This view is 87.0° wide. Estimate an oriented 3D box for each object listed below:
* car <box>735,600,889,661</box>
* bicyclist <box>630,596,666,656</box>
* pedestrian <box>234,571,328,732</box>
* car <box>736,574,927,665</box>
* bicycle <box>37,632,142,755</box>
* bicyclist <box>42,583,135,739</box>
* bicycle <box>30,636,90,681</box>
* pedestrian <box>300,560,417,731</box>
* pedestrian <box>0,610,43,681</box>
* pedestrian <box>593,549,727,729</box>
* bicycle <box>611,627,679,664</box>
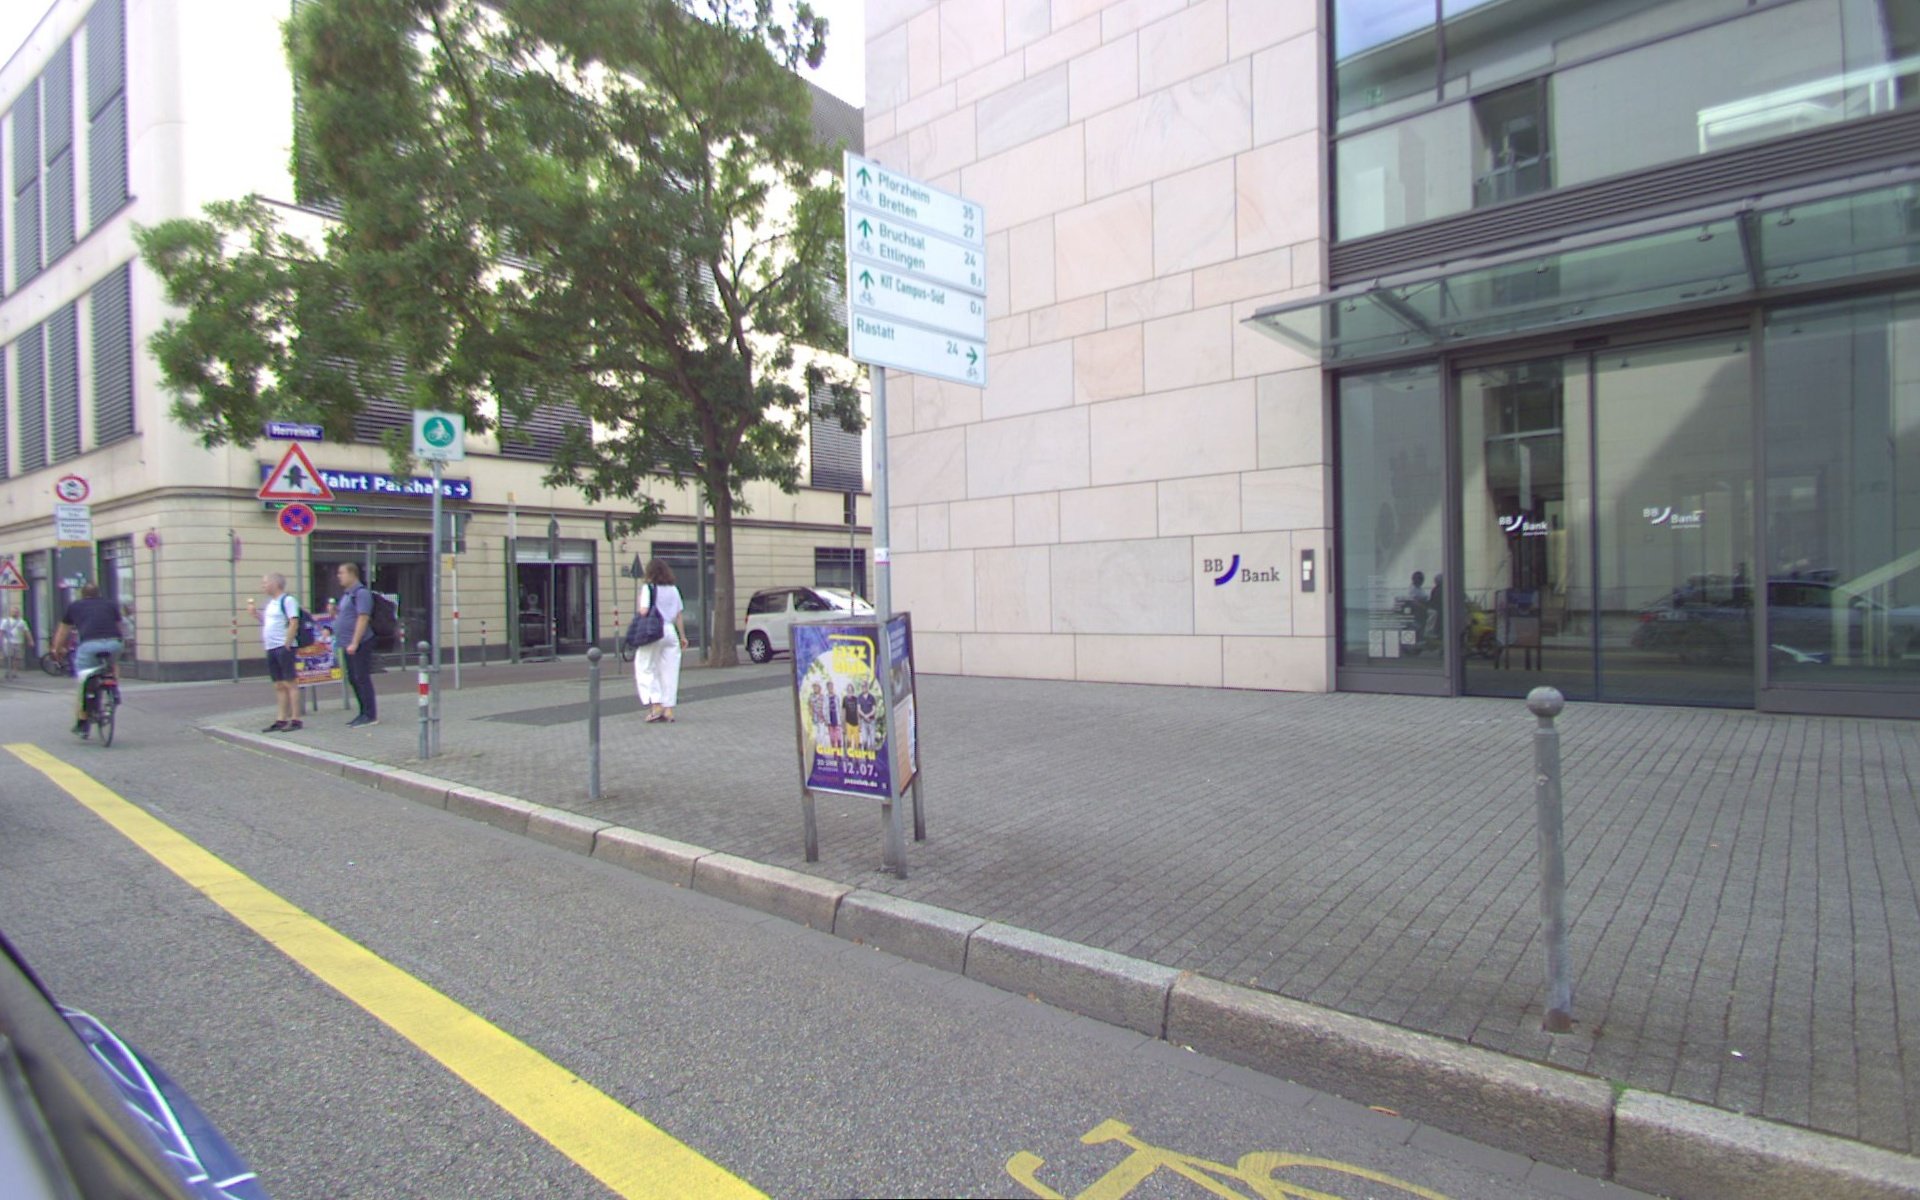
[{"bbox_3d":[-4.166,0.809,29.000,1.813,1.593,4.310,-1,0,38],"label":"car"},{"bbox_3d":[-8.686,0.726,28.206,0.622,1.631,0.635,-2,1,41],"label":"bicyclist"},{"bbox_3d":[-7.760,0.571,11.572,0.651,1.778,0.637,-2,0,29],"label":"pedestrian"},{"bbox_3d":[-2.897,0.469,22.478,3.957,1.706,1.876,-5,-3,37],"label":"car"},{"bbox_3d":[-9.791,0.994,11.363,1.953,1.250,0.640,-1,-3,43],"label":"bicycle"},{"bbox_3d":[-9.788,0.669,11.365,0.939,1.666,0.636,-1,-3,43],"label":"bicyclist"},{"bbox_3d":[-23.415,1.495,26.302,2.539,1.052,0.684,-1,0,37],"label":"bicycle"},{"bbox_3d":[-6.799,0.491,11.458,0.753,1.827,0.738,-2,3,29],"label":"pedestrian"},{"bbox_3d":[-25.174,1.191,26.864,1.058,1.778,0.883,-1,3,34],"label":"pedestrian"},{"bbox_3d":[-3.089,0.371,10.432,0.909,1.721,0.868,-1,4,40],"label":"pedestrian"},{"bbox_3d":[-8.736,1.264,28.124,0.601,0.840,1.702,-4,1,40],"label":"bicycle"}]
